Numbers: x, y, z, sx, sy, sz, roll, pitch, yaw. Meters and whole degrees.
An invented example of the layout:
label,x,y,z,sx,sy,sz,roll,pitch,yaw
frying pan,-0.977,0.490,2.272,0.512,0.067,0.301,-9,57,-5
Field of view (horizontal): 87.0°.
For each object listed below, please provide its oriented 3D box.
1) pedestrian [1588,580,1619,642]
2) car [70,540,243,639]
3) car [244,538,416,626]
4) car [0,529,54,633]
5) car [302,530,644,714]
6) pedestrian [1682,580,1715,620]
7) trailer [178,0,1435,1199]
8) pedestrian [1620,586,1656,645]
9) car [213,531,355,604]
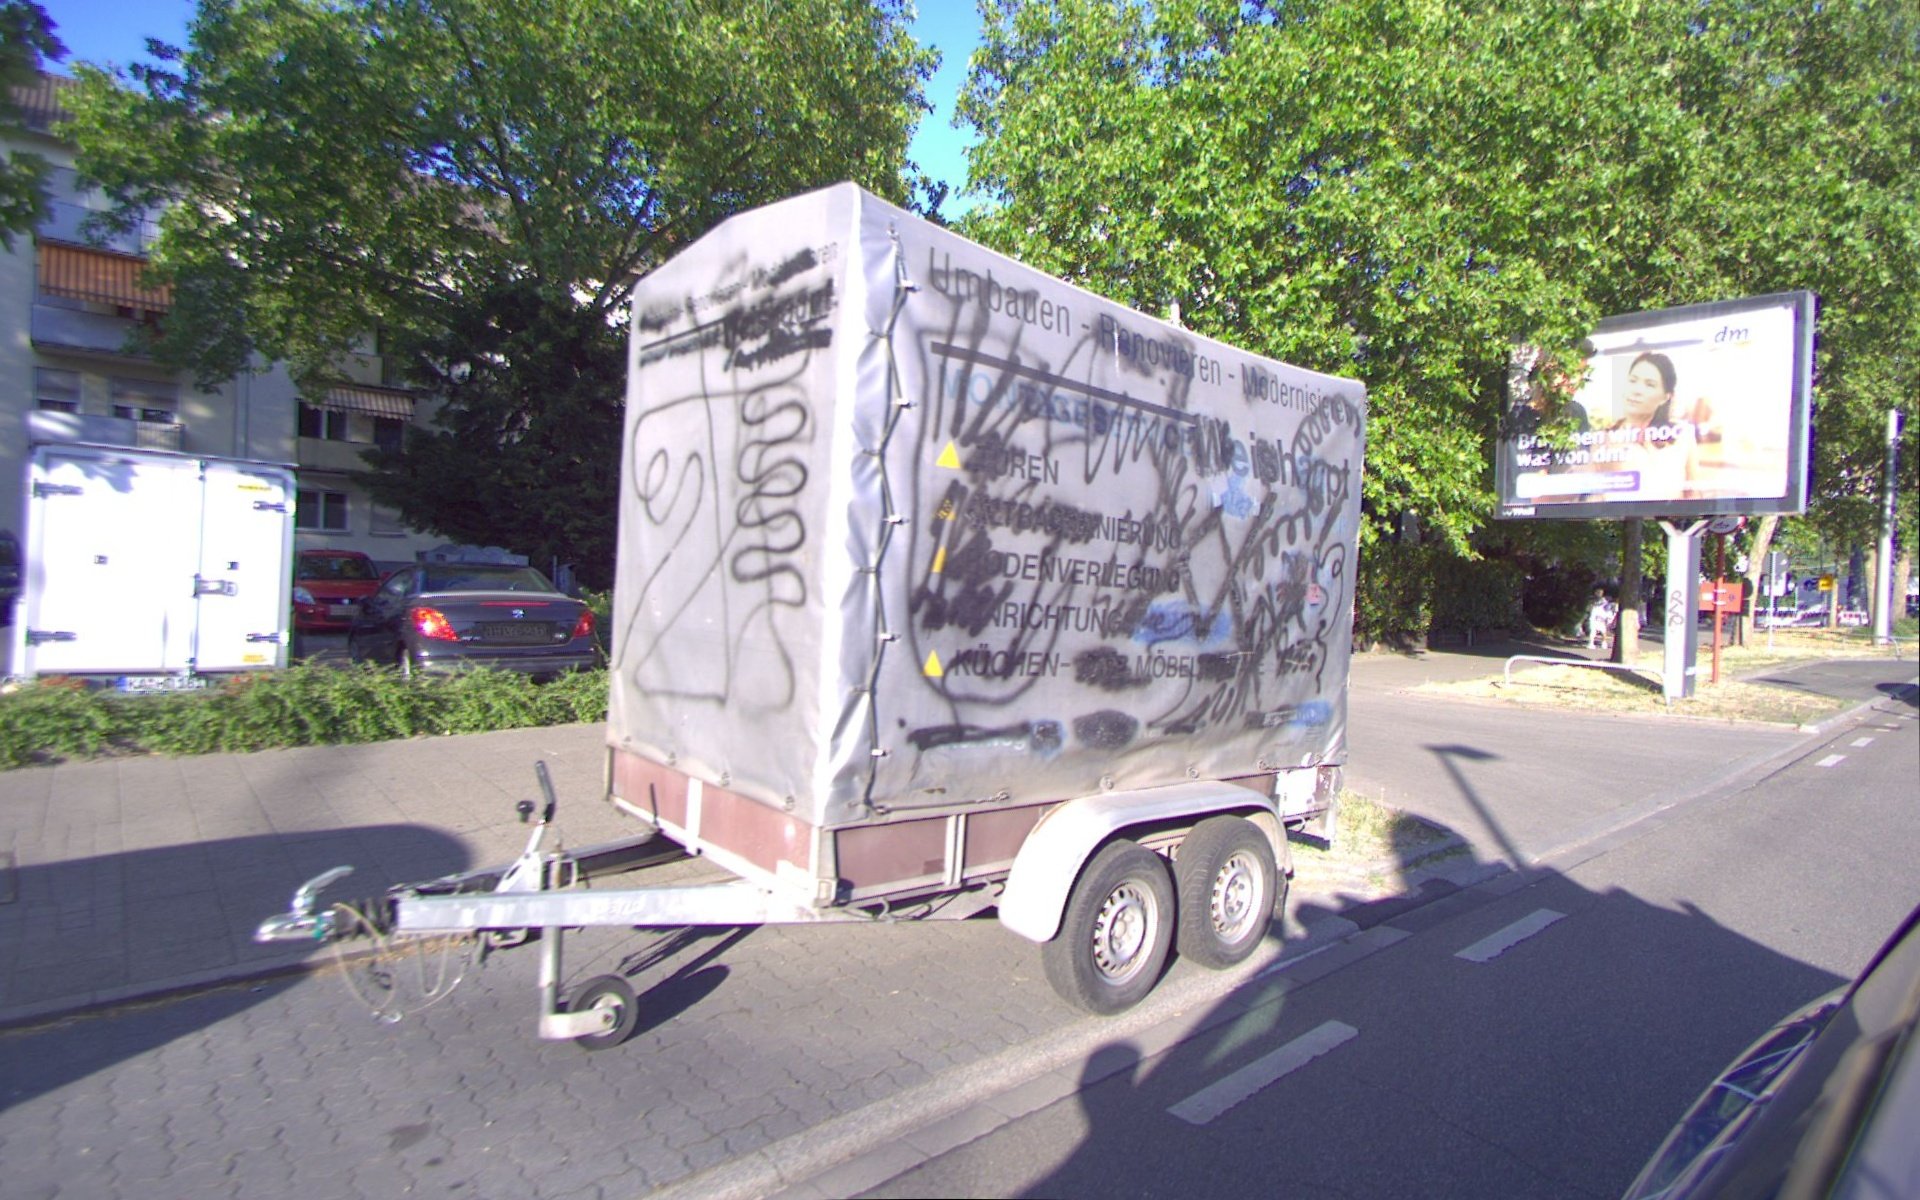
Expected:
label,x,y,z,sx,sy,sz,roll,pitch,yaw
pedestrian,18.028,0.309,28.371,0.683,1.689,0.554,1,1,-45
car,-14.146,-0.247,17.718,1.967,1.514,4.285,0,2,-44
car,-12.259,-0.395,19.575,1.967,1.514,4.285,0,2,-44
car,-16.006,-0.367,16.283,1.967,1.553,4.285,0,2,-44
car,-5.225,0.098,10.564,1.967,1.514,4.285,0,2,-44
pedestrian,35.420,-0.003,48.548,0.935,1.887,1.062,1,1,-41
trailer,-0.131,-0.132,3.990,4.569,2.620,1.889,0,2,-41
pedestrian,18.595,0.414,27.753,0.753,1.561,0.625,0,1,-45
car,-15.578,-0.750,23.228,1.967,1.514,4.285,0,2,-44
